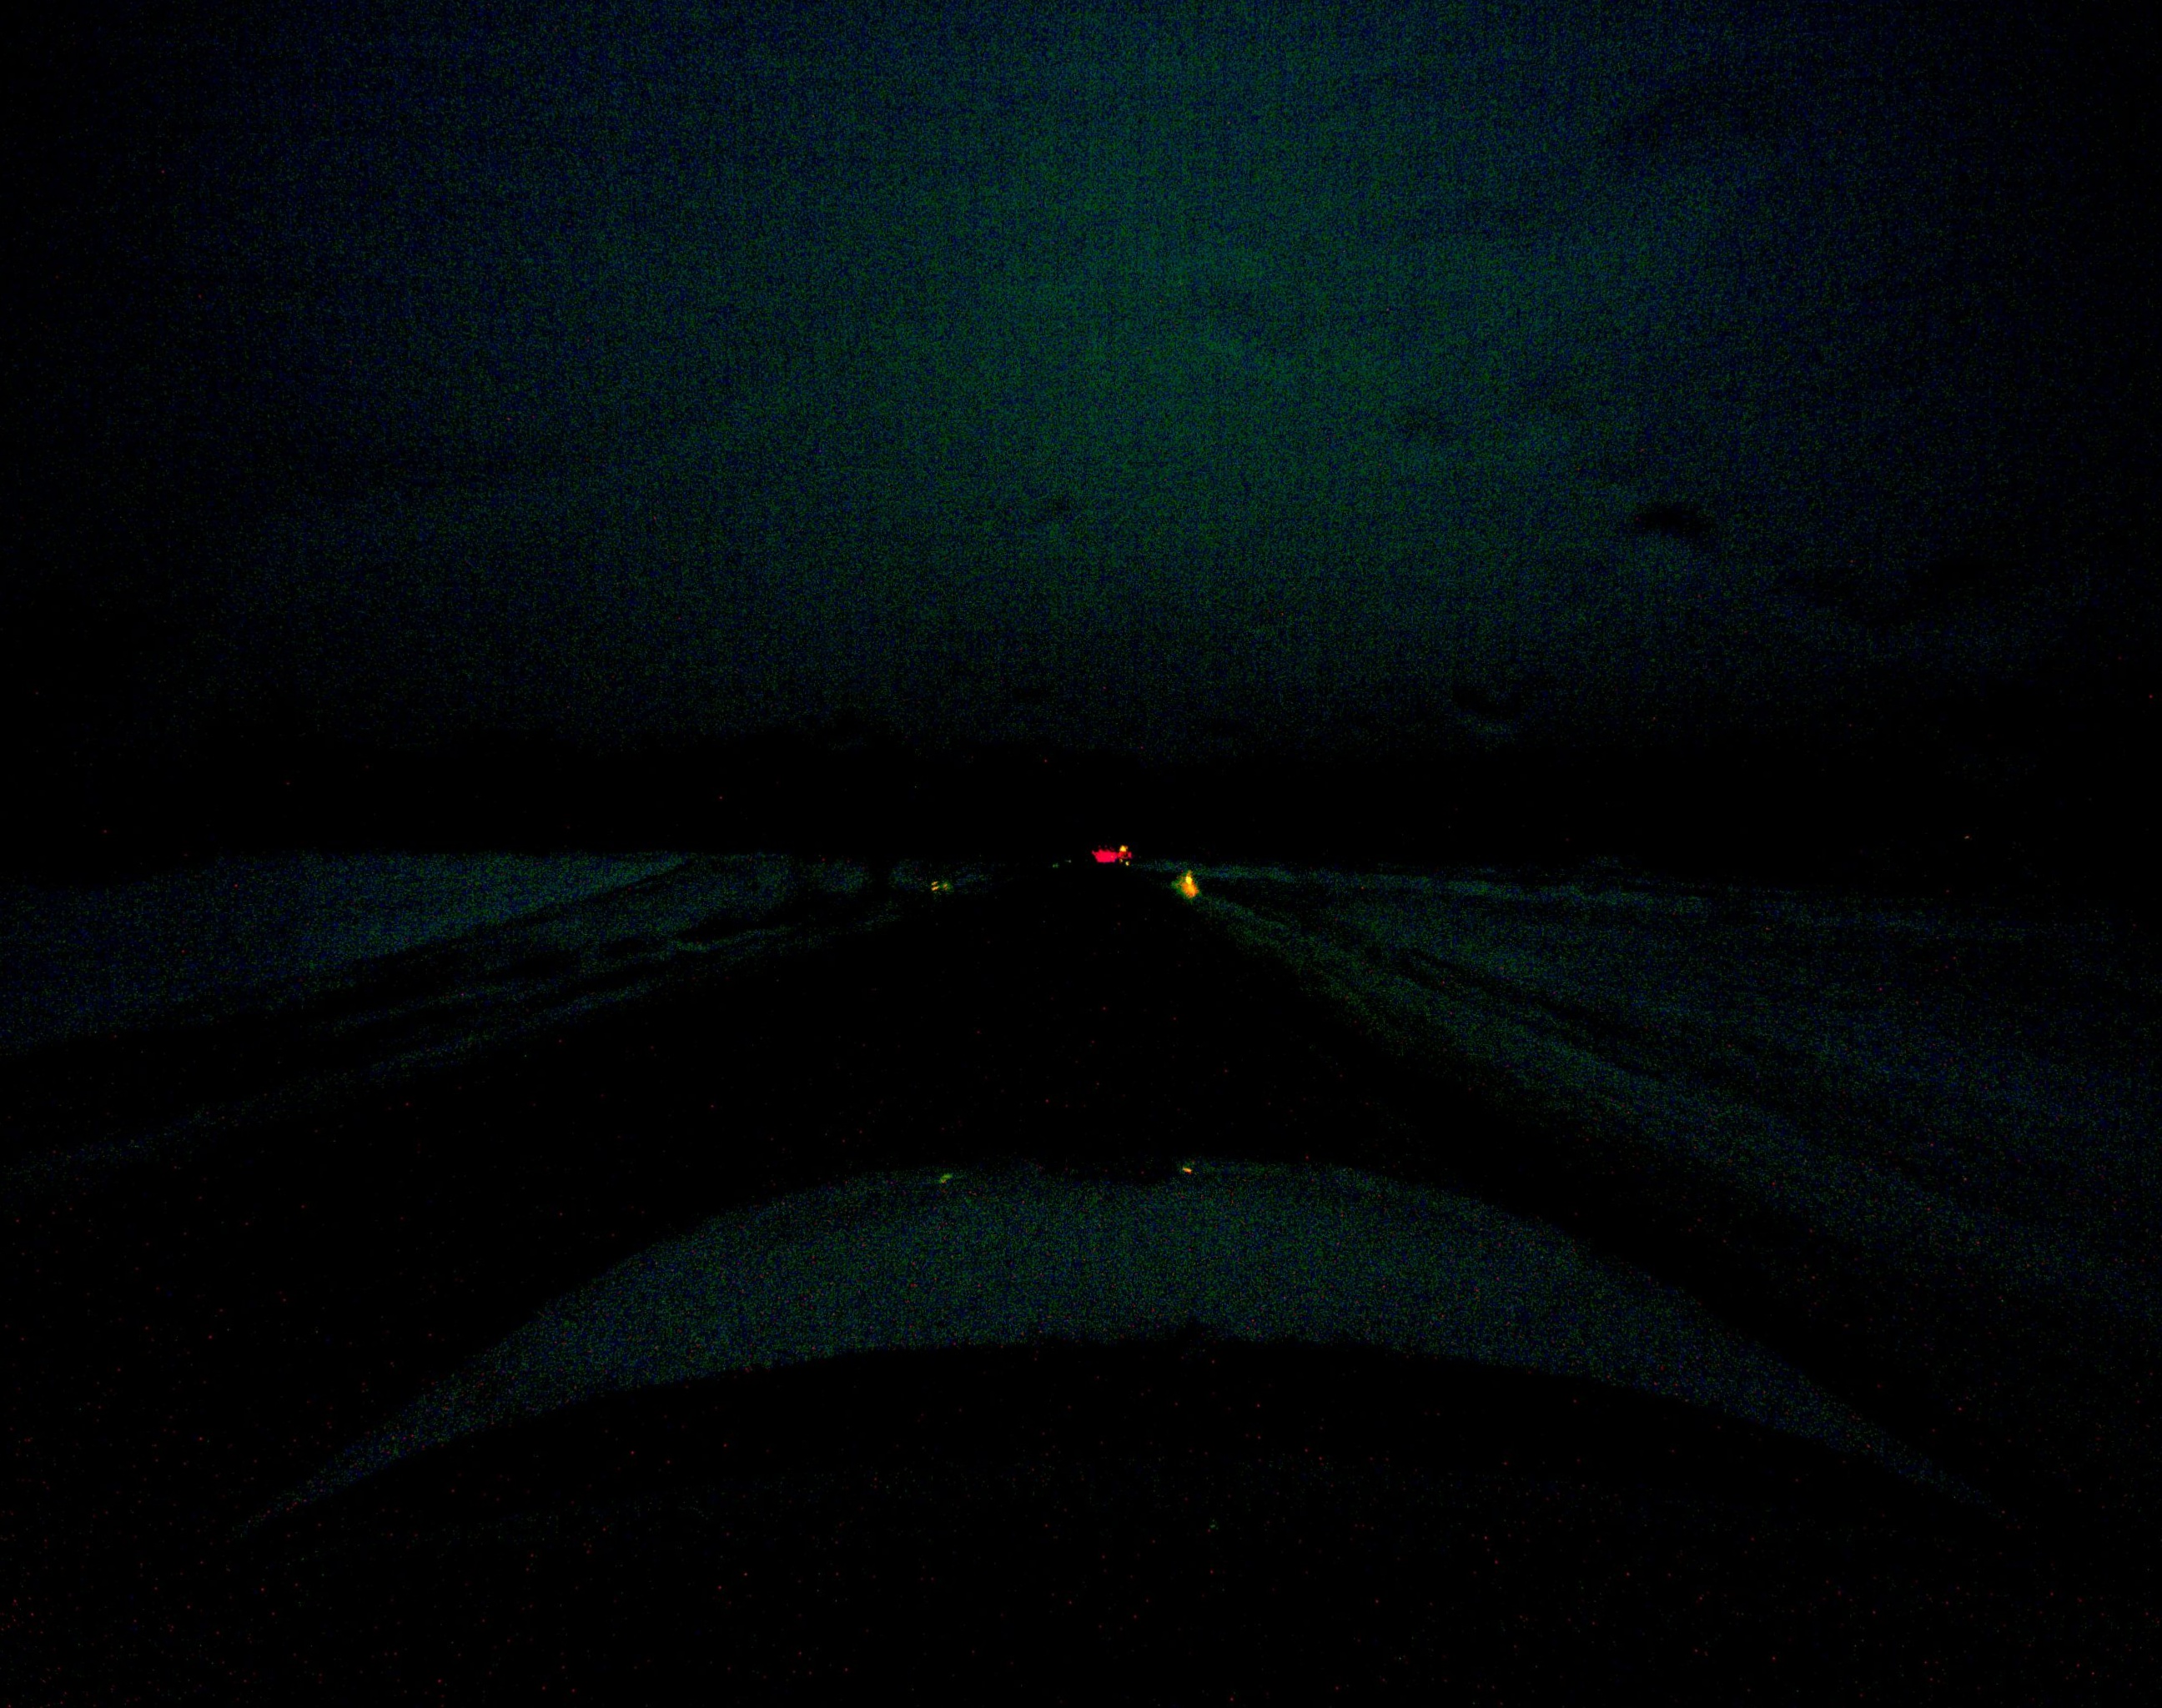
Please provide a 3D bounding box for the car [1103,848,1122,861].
[{"bbox_3d":[5.091,0.095,131.276,1.977,2.052,4.019,1,-1,19],"label":"car"}]
